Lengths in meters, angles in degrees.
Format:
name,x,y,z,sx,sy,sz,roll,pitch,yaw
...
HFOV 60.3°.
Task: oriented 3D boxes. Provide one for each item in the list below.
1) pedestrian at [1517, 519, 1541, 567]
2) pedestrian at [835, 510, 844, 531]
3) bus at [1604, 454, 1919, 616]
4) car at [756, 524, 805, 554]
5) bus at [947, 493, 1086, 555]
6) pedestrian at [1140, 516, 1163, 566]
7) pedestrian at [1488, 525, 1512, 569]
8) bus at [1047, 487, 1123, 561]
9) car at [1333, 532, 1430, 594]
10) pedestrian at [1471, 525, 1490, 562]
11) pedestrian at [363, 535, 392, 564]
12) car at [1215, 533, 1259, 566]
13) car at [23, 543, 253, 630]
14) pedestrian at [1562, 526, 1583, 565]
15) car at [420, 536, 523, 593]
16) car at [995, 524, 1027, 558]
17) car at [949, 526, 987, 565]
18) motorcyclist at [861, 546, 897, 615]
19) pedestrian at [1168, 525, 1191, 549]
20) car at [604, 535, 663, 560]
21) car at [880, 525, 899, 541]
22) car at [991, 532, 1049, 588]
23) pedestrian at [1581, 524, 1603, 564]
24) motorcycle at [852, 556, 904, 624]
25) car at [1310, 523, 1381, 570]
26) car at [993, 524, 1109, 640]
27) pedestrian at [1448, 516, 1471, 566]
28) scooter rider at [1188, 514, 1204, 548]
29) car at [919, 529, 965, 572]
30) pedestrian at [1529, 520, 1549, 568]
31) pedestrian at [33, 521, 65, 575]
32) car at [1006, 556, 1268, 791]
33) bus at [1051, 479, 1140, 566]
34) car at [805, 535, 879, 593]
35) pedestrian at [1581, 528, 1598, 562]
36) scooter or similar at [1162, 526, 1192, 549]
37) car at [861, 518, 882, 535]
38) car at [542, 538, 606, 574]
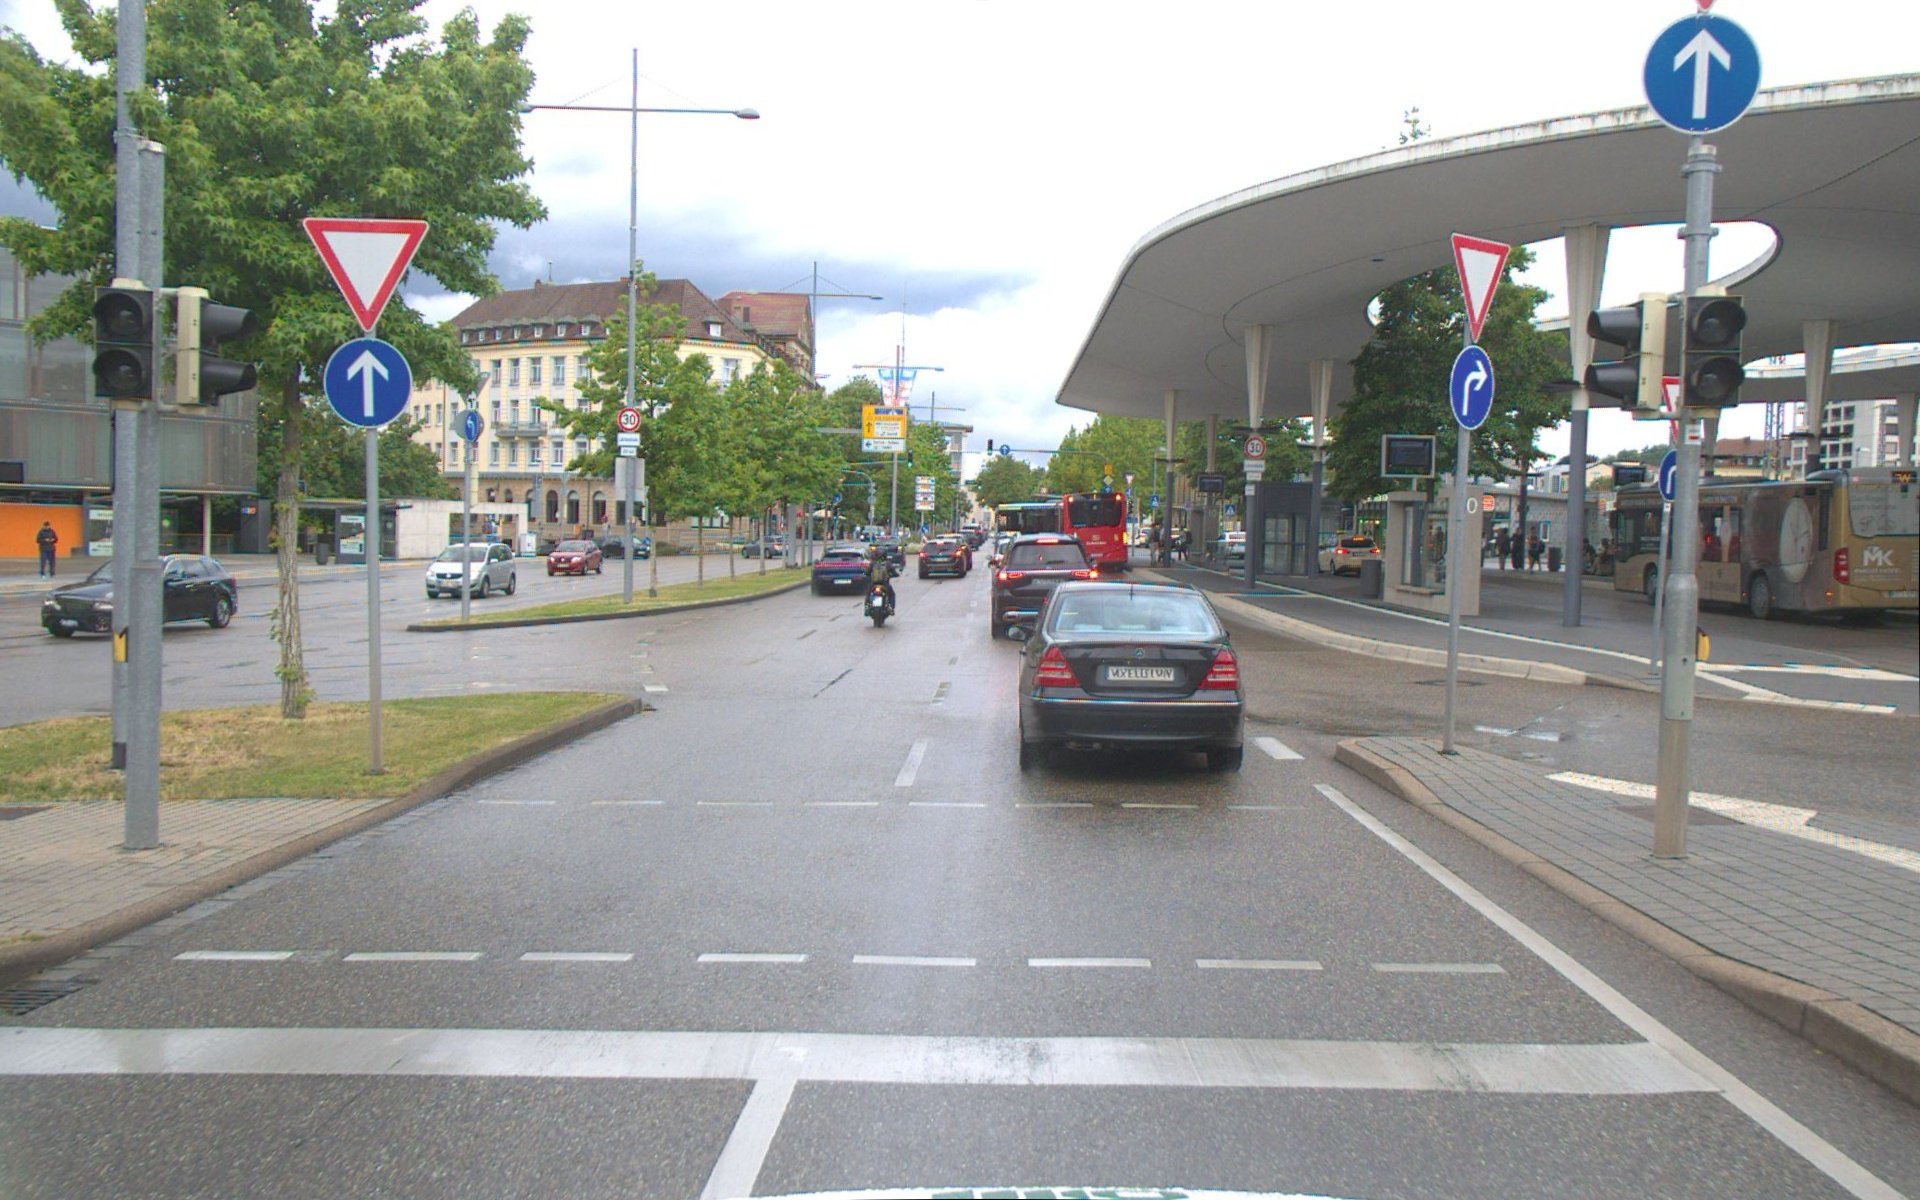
name,x,y,z,sx,sy,sz,roll,pitch,yaw
pedestrian,20.580,-2.059,59.832,0.549,1.721,0.613,1,3,-6
pedestrian,-11.875,-7.821,162.923,0.715,1.999,0.820,-2,3,-25
bus,18.298,-1.517,37.790,2.665,3.096,12.094,0,2,1
car,-11.525,-3.879,105.936,1.843,1.713,3.967,4,0,-26
bus,3.709,-5.206,113.864,2.817,4.056,11.706,-1,3,-37
pedestrian,8.105,-2.492,69.837,0.761,2.048,0.782,3,2,14
pedestrian,19.978,-1.942,61.213,0.587,1.609,0.710,0,0,-8
bus,5.893,-3.648,79.282,3.223,3.345,8.854,0,3,2
car,10.678,-0.977,42.101,1.613,1.478,3.238,0,3,0
pedestrian,23.176,-2.510,73.695,0.570,1.605,0.559,3,-1,36
pedestrian,-27.877,-2.434,79.173,0.956,1.289,0.850,5,4,22
car,15.122,-2.789,90.463,1.676,1.691,4.241,1,3,0
car,-15.637,-0.327,31.792,1.809,1.530,4.922,0,2,2
pedestrian,22.976,-2.048,62.056,0.549,1.469,0.613,0,2,-2
car,-14.992,-1.135,50.992,1.809,1.681,4.421,0,2,1
car,2.567,-3.017,83.994,1.543,1.594,3.873,-2,3,1
car,0.356,-2.419,72.368,1.543,1.594,3.873,-2,3,1
motorcyclist,-1.638,-0.400,33.535,0.628,1.370,0.689,0,2,4
pedestrian,9.749,-2.790,73.522,0.894,1.002,0.634,2,-2,15
car,-20.961,-3.358,106.084,1.670,1.554,4.572,-2,3,-40
car,-7.102,-6.751,166.837,1.543,1.594,3.431,-2,3,1
car,1.853,-1.278,51.611,1.705,1.594,3.873,-2,3,1
pedestrian,23.149,-2.046,60.620,0.549,1.469,0.613,0,2,-2
motorcycle,-1.637,-0.222,33.363,0.776,1.284,1.856,-1,3,5
car,14.536,-2.046,62.504,1.676,1.691,4.241,1,3,0
car,1.607,-0.419,30.631,1.917,1.908,4.876,-2,3,1
pedestrian,21.128,-2.500,69.913,0.709,2.049,0.669,3,-1,27
scooter rider,10.485,-3.075,73.473,0.579,1.515,0.765,1,2,15
car,-0.655,-1.923,63.748,1.543,1.530,3.873,-2,3,2
pedestrian,23.662,-2.293,67.610,0.578,1.906,0.715,2,3,30
pedestrian,-29.075,-1.663,52.788,0.464,1.713,0.764,0,2,8
car,1.272,0.449,13.460,1.663,1.487,4.305,-1,3,0
bus,5.589,-3.289,70.000,3.218,3.348,10.884,0,3,2
car,-3.553,-1.141,50.430,1.778,1.597,4.406,-2,3,1
pedestrian,23.342,-2.039,61.348,0.450,1.272,0.562,2,3,30
scooter or similar,9.659,-2.796,73.693,1.216,1.030,0.765,1,2,15
car,-8.597,-7.143,160.616,1.743,1.594,3.431,-2,3,1
car,-17.377,-2.004,74.610,1.784,1.579,4.035,0,2,2
